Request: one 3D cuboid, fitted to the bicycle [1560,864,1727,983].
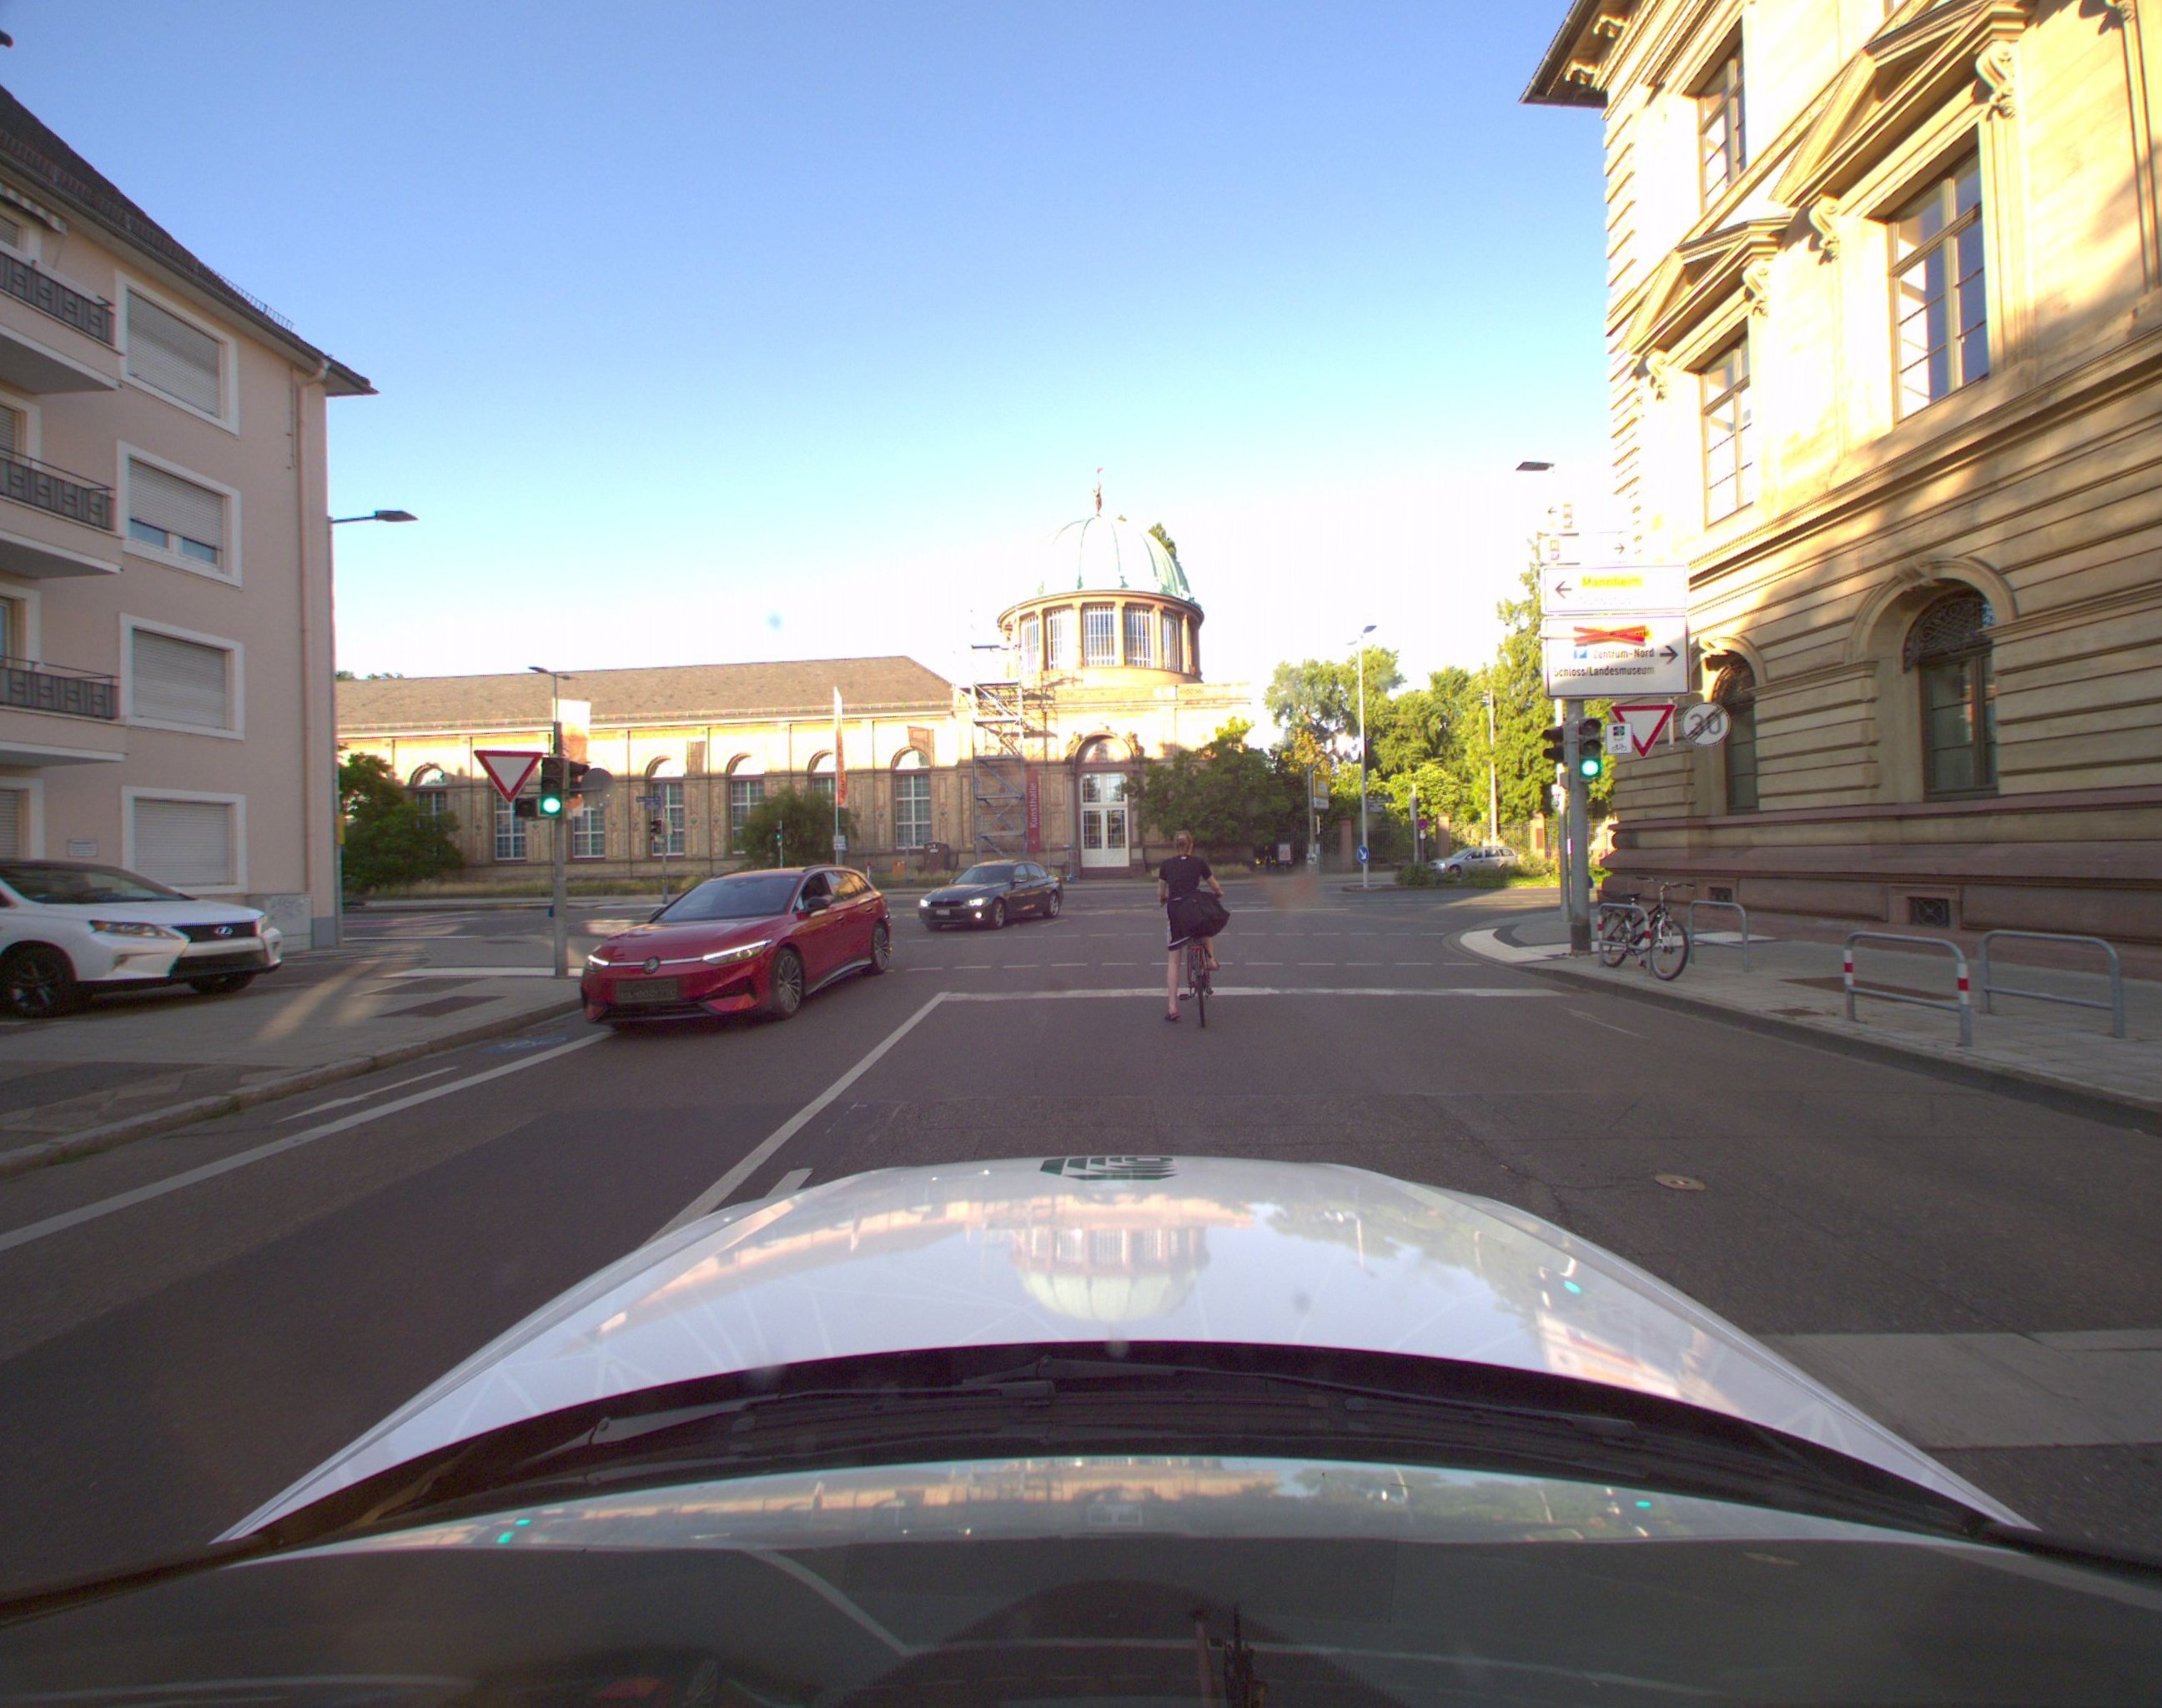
[{"bbox_3d":[6.301,0.737,9.265,0.580,1.188,1.921,-2,-2,2],"label":"bicycle"}]

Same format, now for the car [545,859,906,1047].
[{"bbox_3d":[-3.724,0.910,9.736,1.822,1.545,4.853,-3,0,4],"label":"car"}]

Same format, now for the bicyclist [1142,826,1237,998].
[{"bbox_3d":[1.031,0.528,7.613,0.710,1.502,0.854,-2,-2,16],"label":"bicyclist"}]

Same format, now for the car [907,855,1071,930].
[{"bbox_3d":[-1.975,0.821,18.992,1.766,1.459,4.448,-3,-1,24],"label":"car"}]

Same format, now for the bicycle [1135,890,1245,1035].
[{"bbox_3d":[1.111,0.957,7.855,0.706,1.156,2.077,-2,-2,16],"label":"bicycle"}]

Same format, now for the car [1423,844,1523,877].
[{"bbox_3d":[19.492,0.313,40.601,4.176,1.445,1.713,-2,0,-4],"label":"car"}]

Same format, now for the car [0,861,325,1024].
[{"bbox_3d":[-11.786,0.915,9.305,4.426,1.641,1.942,0,0,0],"label":"car"}]

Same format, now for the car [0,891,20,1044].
[{"bbox_3d":[-11.917,1.026,6.617,4.253,1.380,1.735,0,0,0],"label":"car"}]
